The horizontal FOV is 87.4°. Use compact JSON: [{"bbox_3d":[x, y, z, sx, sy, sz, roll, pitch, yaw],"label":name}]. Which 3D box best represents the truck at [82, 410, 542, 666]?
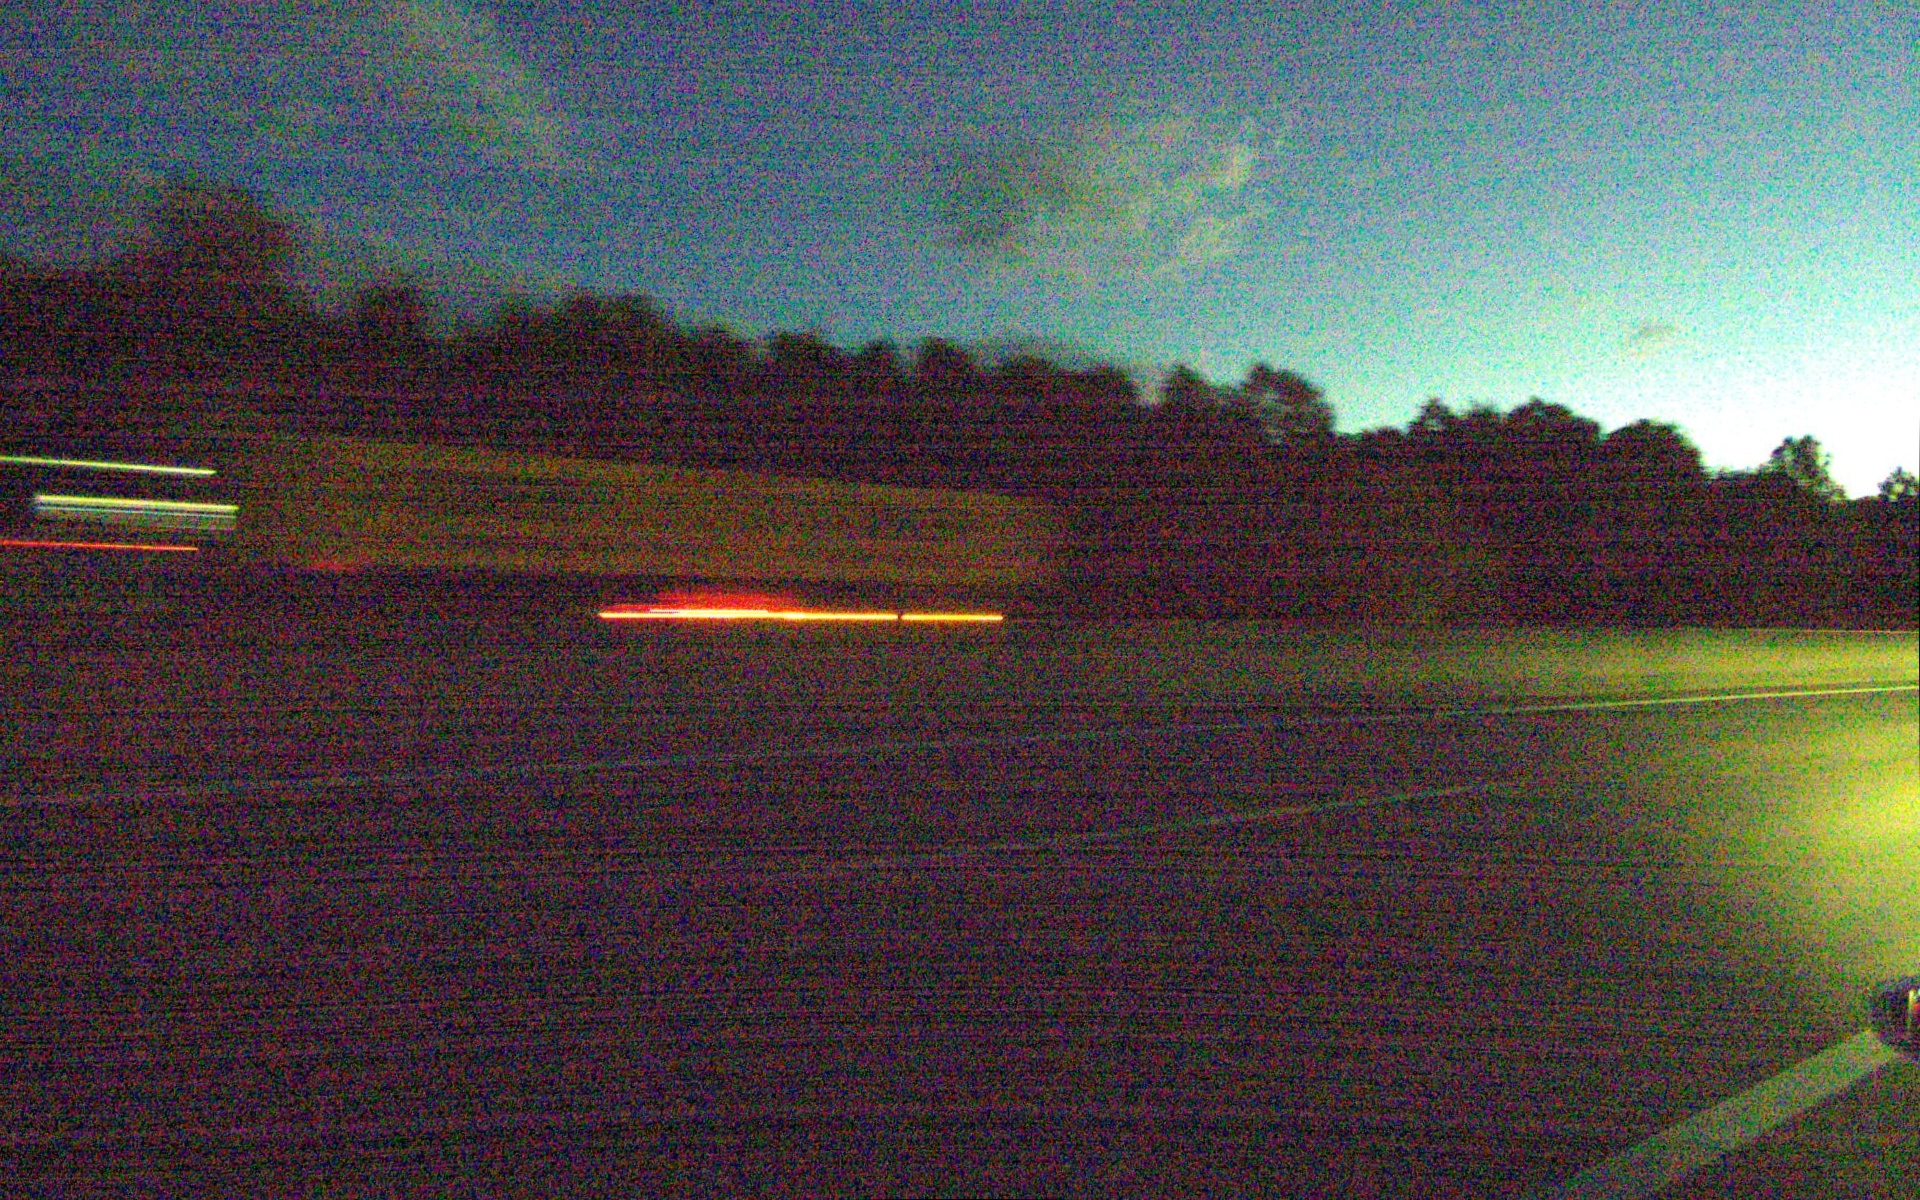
[{"bbox_3d":[-11.706,-0.874,18.972,6.619,4.023,3.486,2,-1,-29],"label":"truck"}]

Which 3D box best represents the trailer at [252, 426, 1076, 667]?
[{"bbox_3d":[-5.331,-0.636,22.748,17.080,4.053,3.526,2,-1,-30],"label":"trailer"}]
